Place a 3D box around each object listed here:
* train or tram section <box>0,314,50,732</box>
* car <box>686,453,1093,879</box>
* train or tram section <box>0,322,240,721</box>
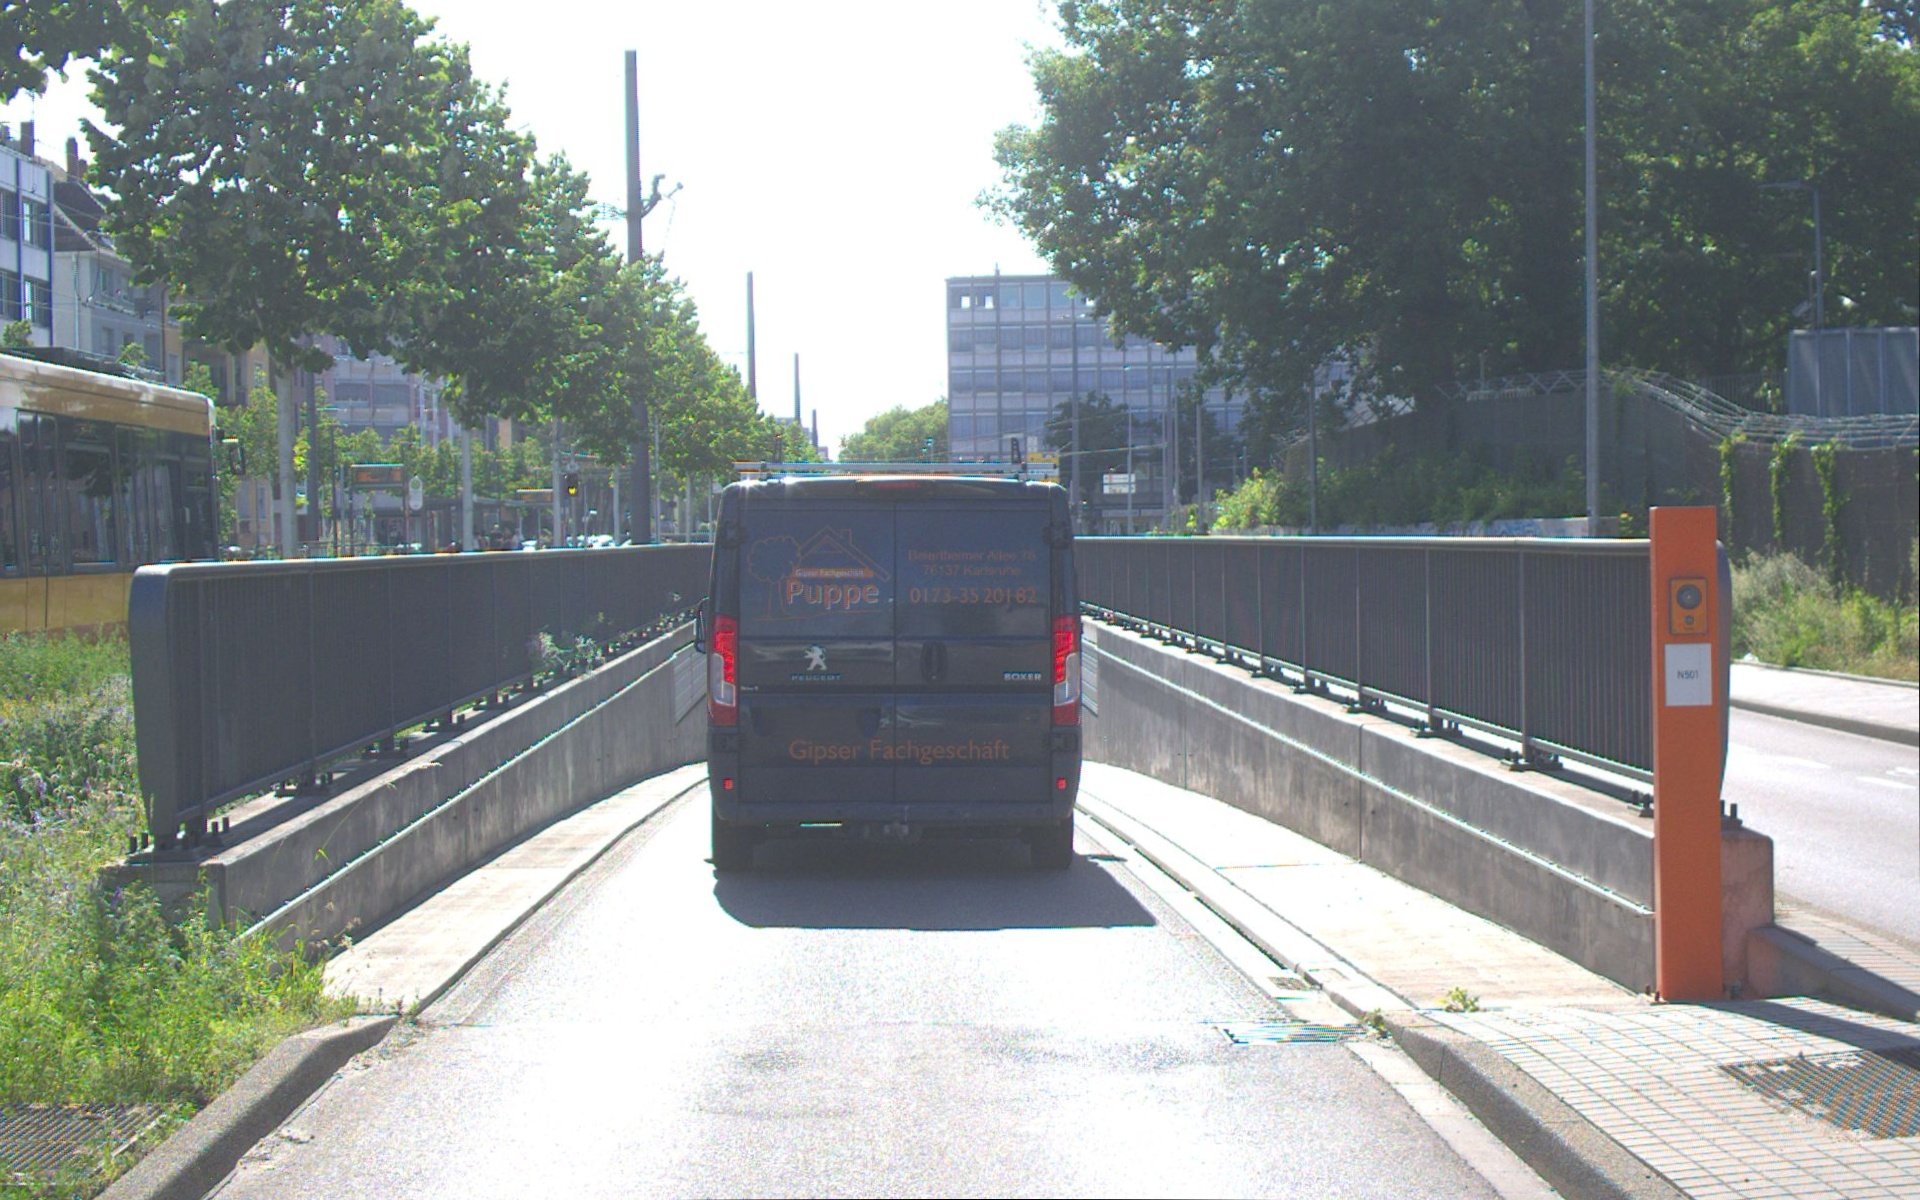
[{"bbox_3d":[-9.946,-0.665,26.640,2.610,3.808,13.092,1,1,-1],"label":"train or tram section"},{"bbox_3d":[-0.399,0.371,20.585,2.158,2.258,4.636,0,-1,-1],"label":"car"},{"bbox_3d":[-10.240,-0.823,38.145,2.612,3.841,9.972,1,1,-1],"label":"train or tram section"}]
